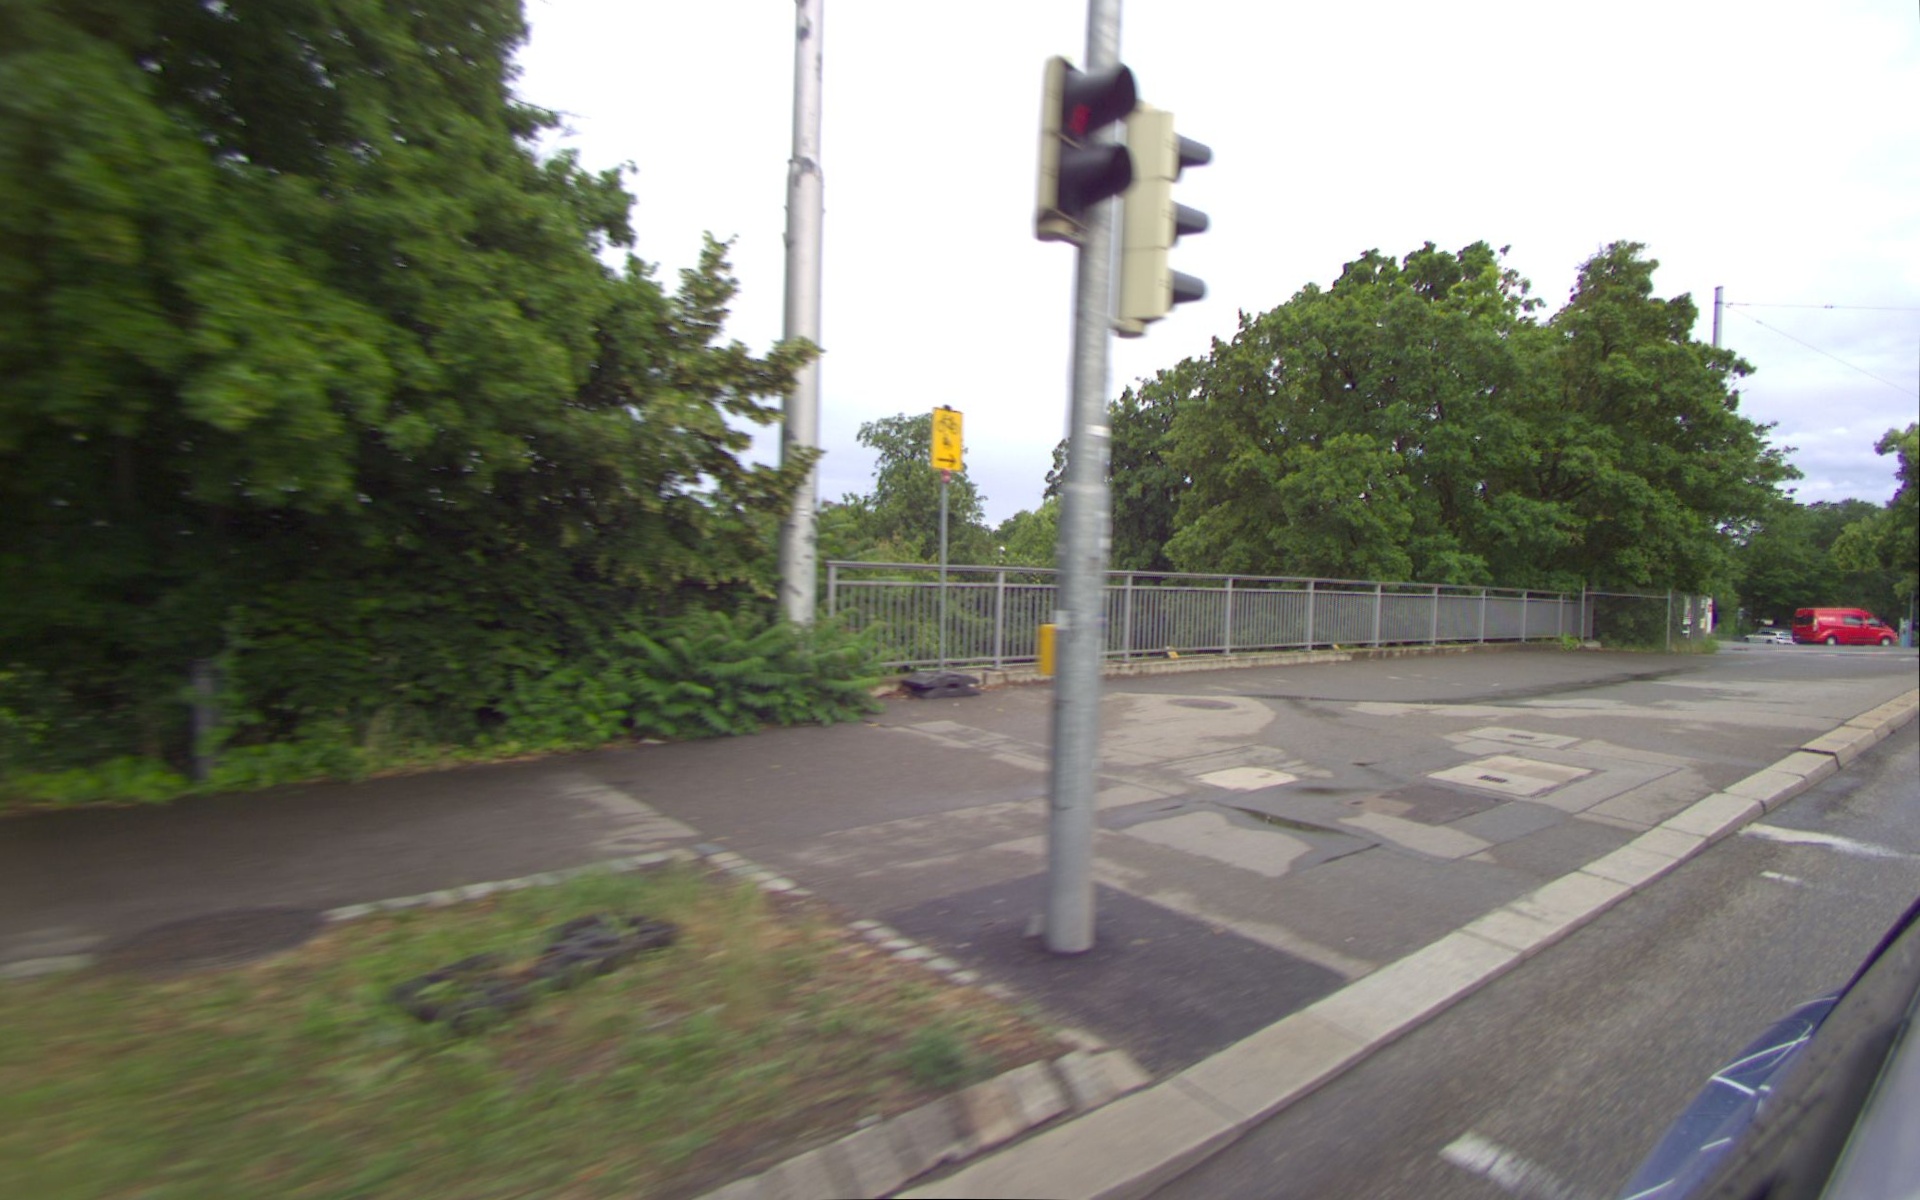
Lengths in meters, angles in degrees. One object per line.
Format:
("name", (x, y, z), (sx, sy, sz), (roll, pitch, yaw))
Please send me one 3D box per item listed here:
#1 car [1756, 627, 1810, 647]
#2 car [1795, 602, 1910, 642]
("car", (74.276, 3.343, 91.402), (1.855, 1.532, 3.801), (2, 1, 3))
("car", (52.883, 1.268, 60.044), (4.937, 2.220, 1.999), (1, 0, 2))
